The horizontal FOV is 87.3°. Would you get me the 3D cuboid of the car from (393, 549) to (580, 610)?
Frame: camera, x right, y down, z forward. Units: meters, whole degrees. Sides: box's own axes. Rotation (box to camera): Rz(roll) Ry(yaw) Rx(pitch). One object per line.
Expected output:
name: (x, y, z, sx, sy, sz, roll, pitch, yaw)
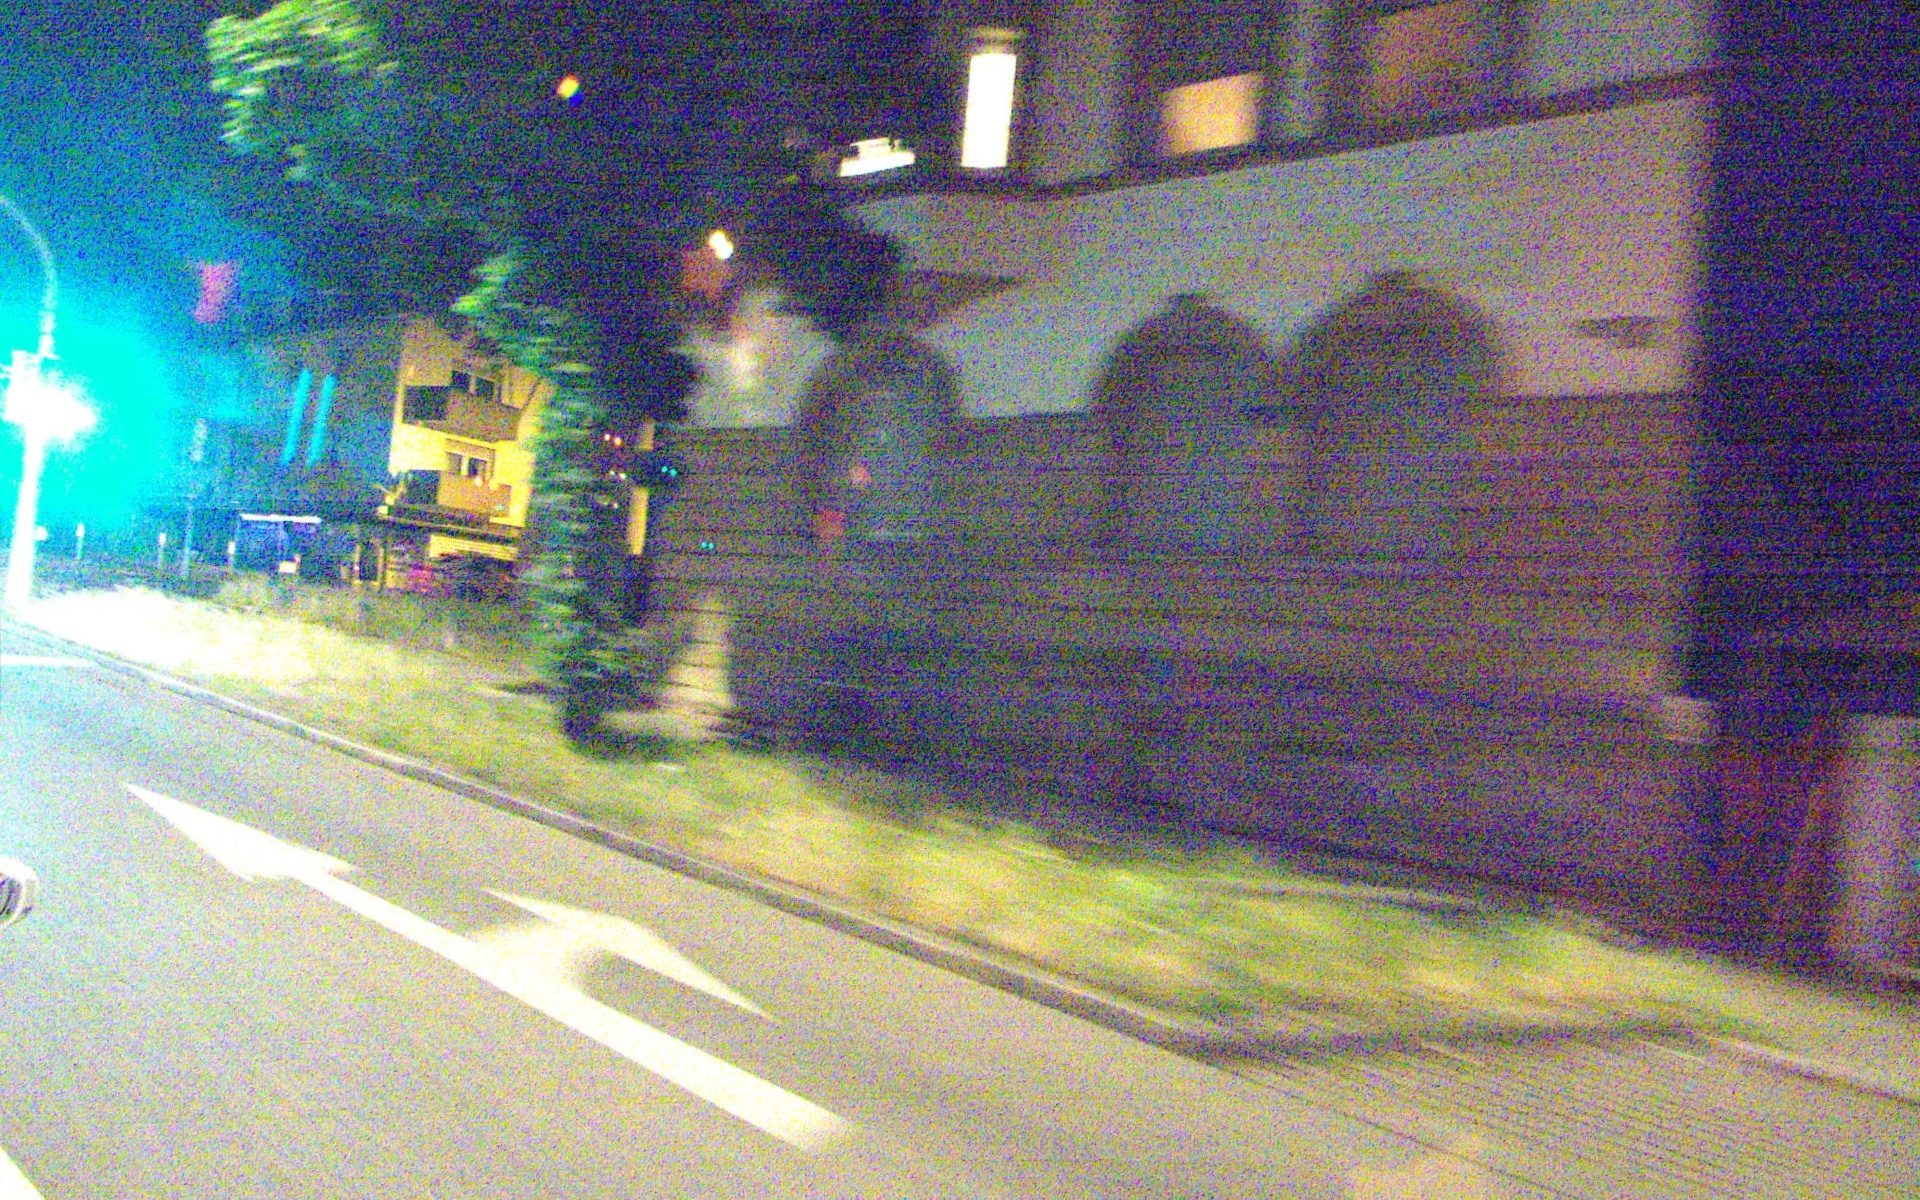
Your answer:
car: (-12.504, -0.512, 26.757, 1.740, 1.297, 4.123, 6, 2, 39)
